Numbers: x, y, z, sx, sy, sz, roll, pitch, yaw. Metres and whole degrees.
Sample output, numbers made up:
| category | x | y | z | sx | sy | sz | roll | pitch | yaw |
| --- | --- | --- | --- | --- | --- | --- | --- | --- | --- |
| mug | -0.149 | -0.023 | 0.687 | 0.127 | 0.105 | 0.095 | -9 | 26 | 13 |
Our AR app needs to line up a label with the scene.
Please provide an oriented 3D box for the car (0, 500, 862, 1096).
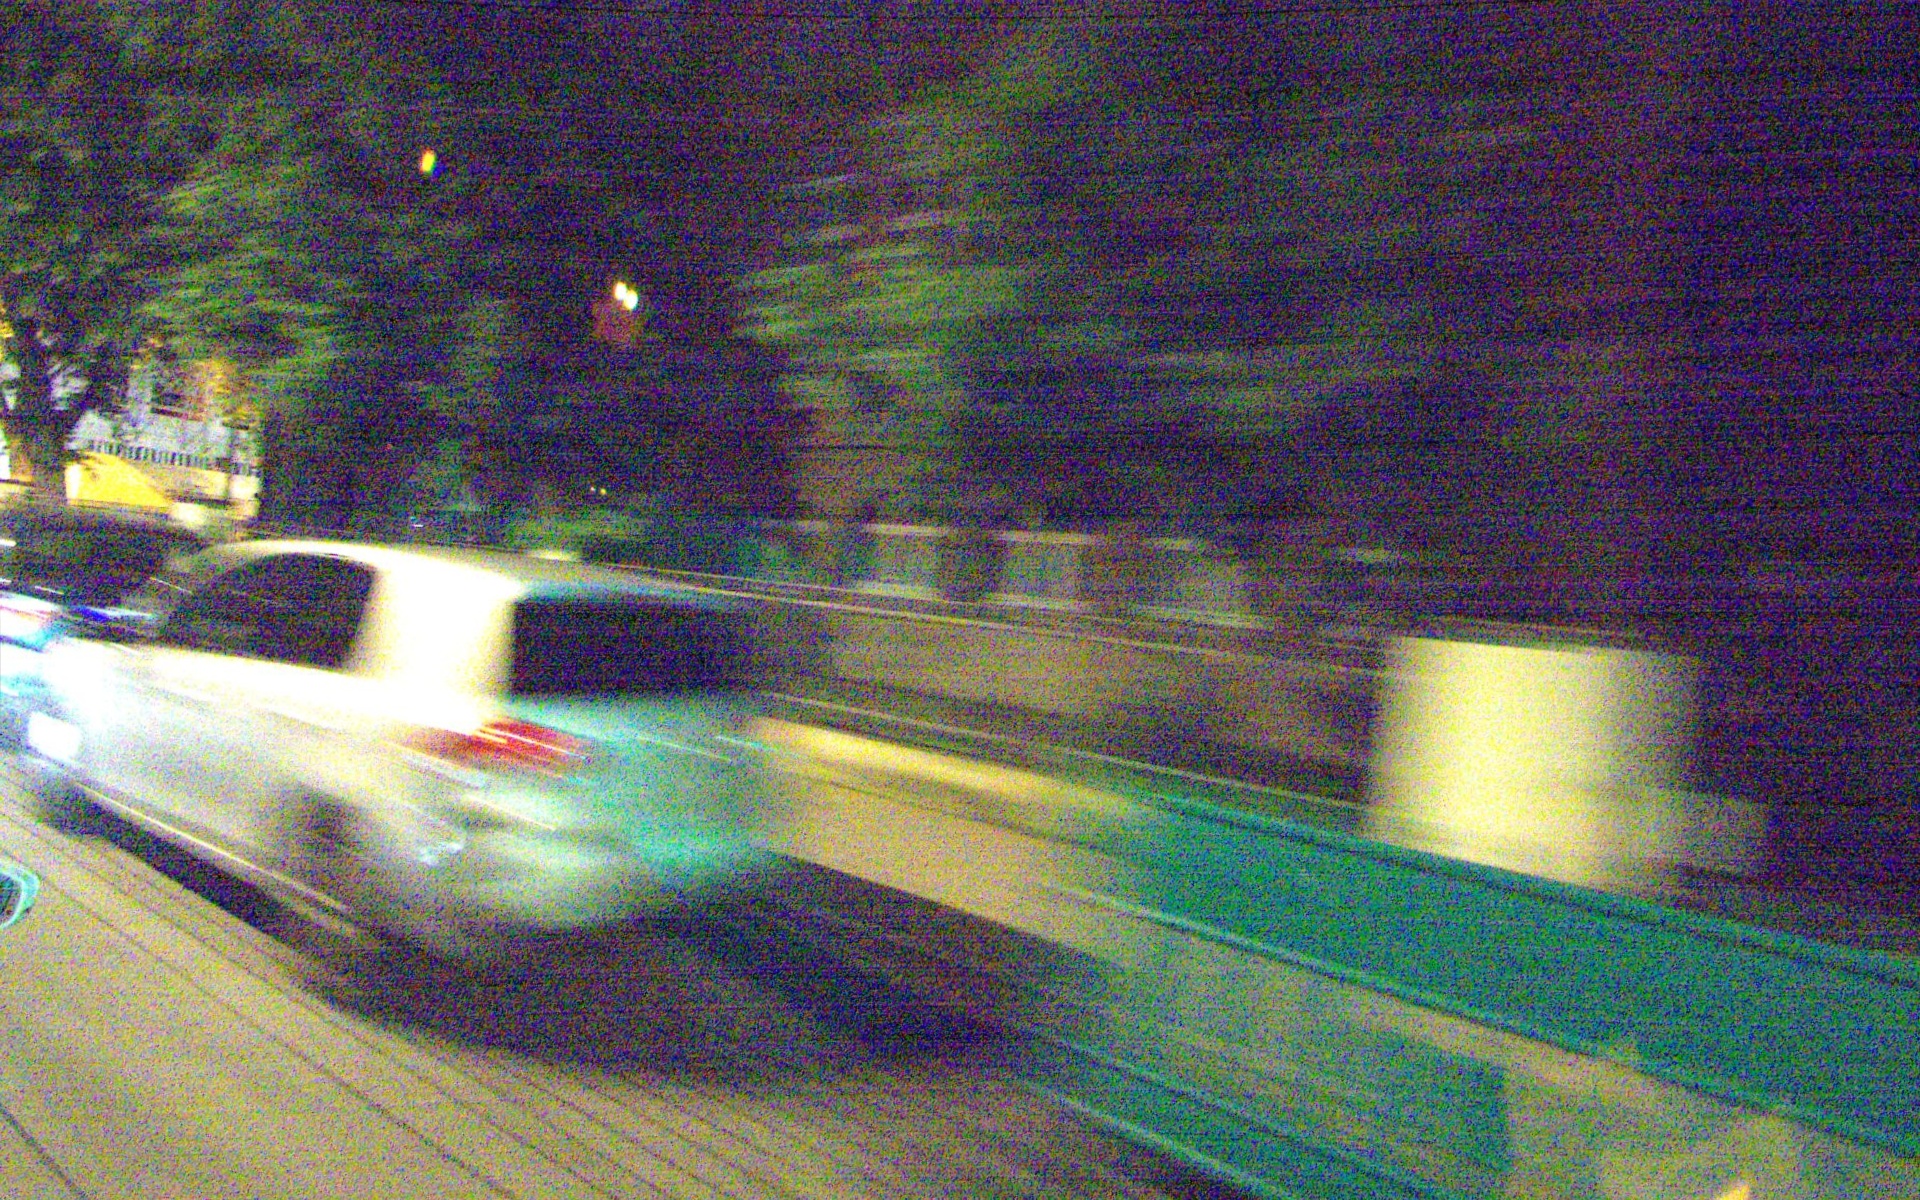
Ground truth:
| category | x | y | z | sx | sy | sz | roll | pitch | yaw |
| --- | --- | --- | --- | --- | --- | --- | --- | --- | --- |
| car | -2.583 | 0.473 | 4.575 | 3.934 | 1.497 | 1.739 | 7 | 3 | 32 |

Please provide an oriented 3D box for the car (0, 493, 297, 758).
| category | x | y | z | sx | sy | sz | roll | pitch | yaw |
| --- | --- | --- | --- | --- | --- | --- | --- | --- | --- |
| car | -6.822 | -0.023 | 7.245 | 4.370 | 1.439 | 1.687 | 7 | 1 | 32 |

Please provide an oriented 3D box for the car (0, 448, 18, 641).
| category | x | y | z | sx | sy | sz | roll | pitch | yaw |
| --- | --- | --- | --- | --- | --- | --- | --- | --- | --- |
| car | -11.574 | -0.783 | 10.209 | 4.243 | 1.879 | 1.737 | 7 | 1 | 30 |
